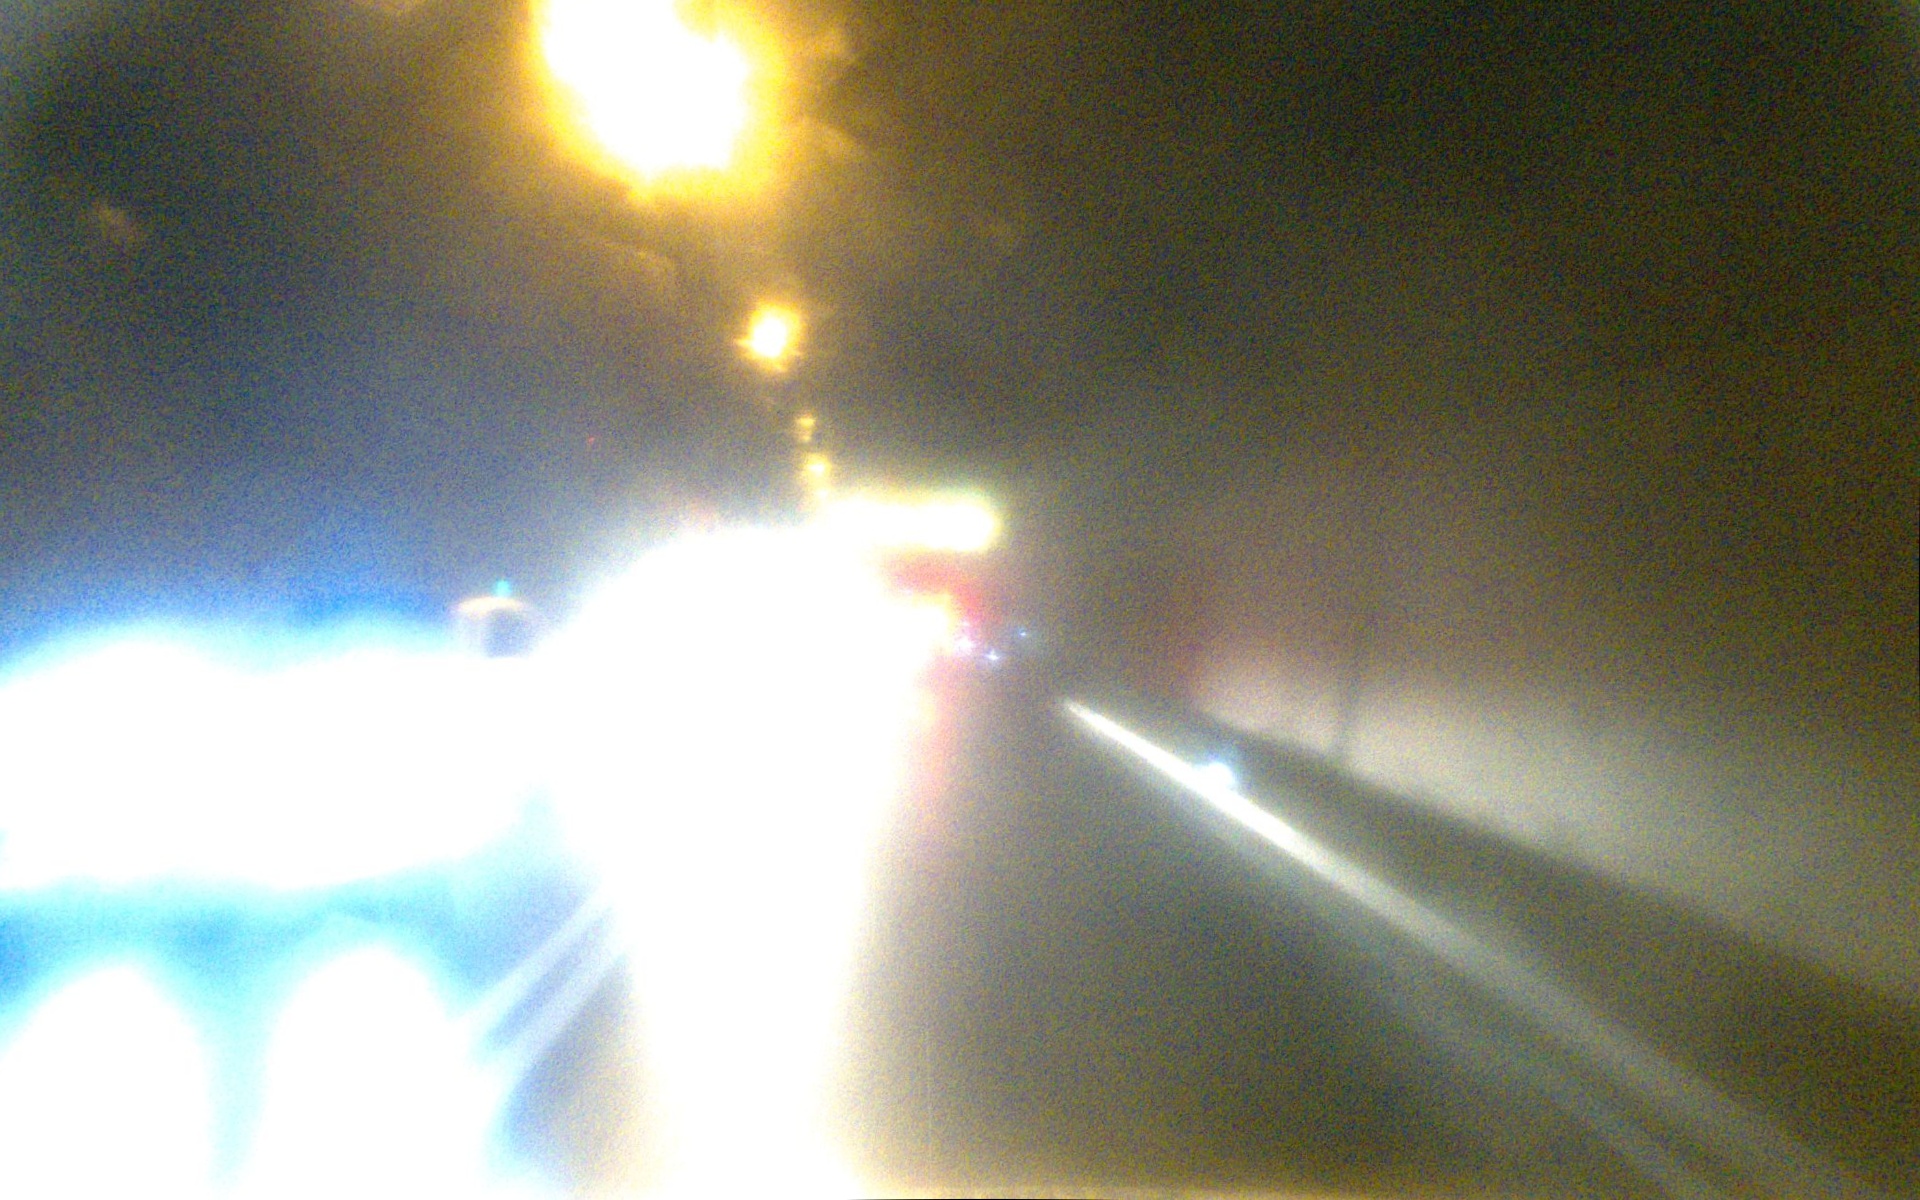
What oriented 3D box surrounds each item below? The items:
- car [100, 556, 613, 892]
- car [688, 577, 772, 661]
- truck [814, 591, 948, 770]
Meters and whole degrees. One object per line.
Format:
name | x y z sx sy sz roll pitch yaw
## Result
car | -3.268 0.577 9.848 1.588 1.544 4.136 1 0 -1
car | -4.778 0.357 34.575 1.552 1.564 3.171 4 0 -7
truck | -1.625 1.427 33.223 2.217 3.063 7.410 3 0 -3
